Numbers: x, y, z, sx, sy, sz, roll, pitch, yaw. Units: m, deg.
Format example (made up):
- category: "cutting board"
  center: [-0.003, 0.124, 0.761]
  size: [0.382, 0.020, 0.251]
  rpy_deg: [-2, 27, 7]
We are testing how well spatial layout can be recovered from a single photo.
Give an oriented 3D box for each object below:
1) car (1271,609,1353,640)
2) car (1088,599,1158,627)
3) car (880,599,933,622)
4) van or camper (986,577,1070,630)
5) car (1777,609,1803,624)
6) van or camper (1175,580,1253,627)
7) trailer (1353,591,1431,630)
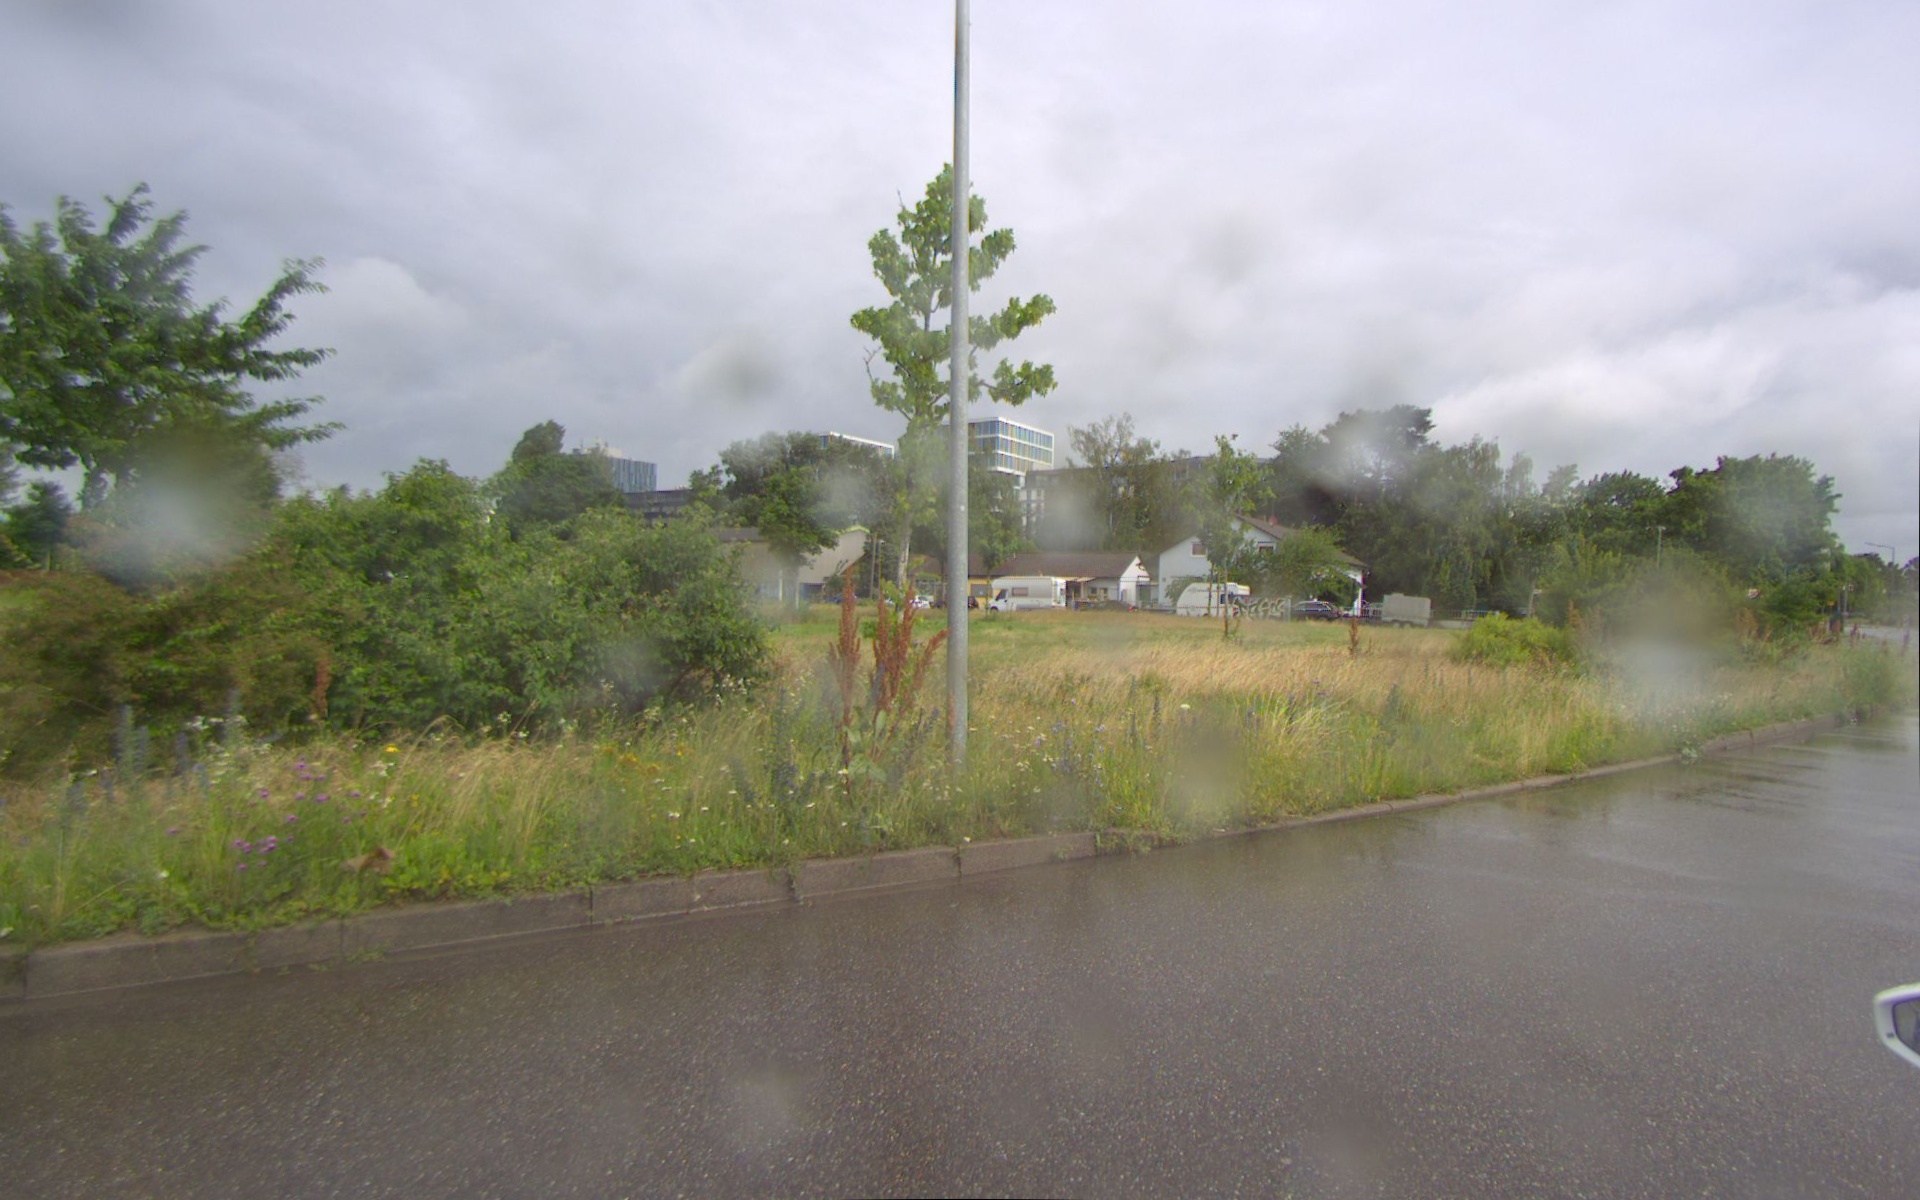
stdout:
- category: "car"
  center: [22.231, 1.500, 63.490]
  size: [4.445, 1.799, 1.993]
  rpy_deg: [2, 1, 36]
- category: "car"
  center: [11.406, 0.894, 70.423]
  size: [4.445, 1.799, 1.993]
  rpy_deg: [2, 1, 36]
- category: "car"
  center: [-4.366, 0.817, 81.488]
  size: [3.934, 1.726, 1.875]
  rpy_deg: [2, 1, 35]
- category: "van or camper"
  center: [5.087, 0.253, 75.378]
  size: [5.755, 3.794, 2.645]
  rpy_deg: [2, 1, 36]
- category: "car"
  center: [97.389, 1.924, 117.897]
  size: [1.815, 1.663, 4.006]
  rpy_deg: [2, 0, 32]
- category: "van or camper"
  center: [16.981, 0.209, 67.314]
  size: [4.441, 2.985, 2.475]
  rpy_deg: [2, 1, 36]
- category: "trailer"
  center: [26.379, 0.616, 61.364]
  size: [4.043, 2.117, 1.839]
  rpy_deg: [3, 2, 33]
